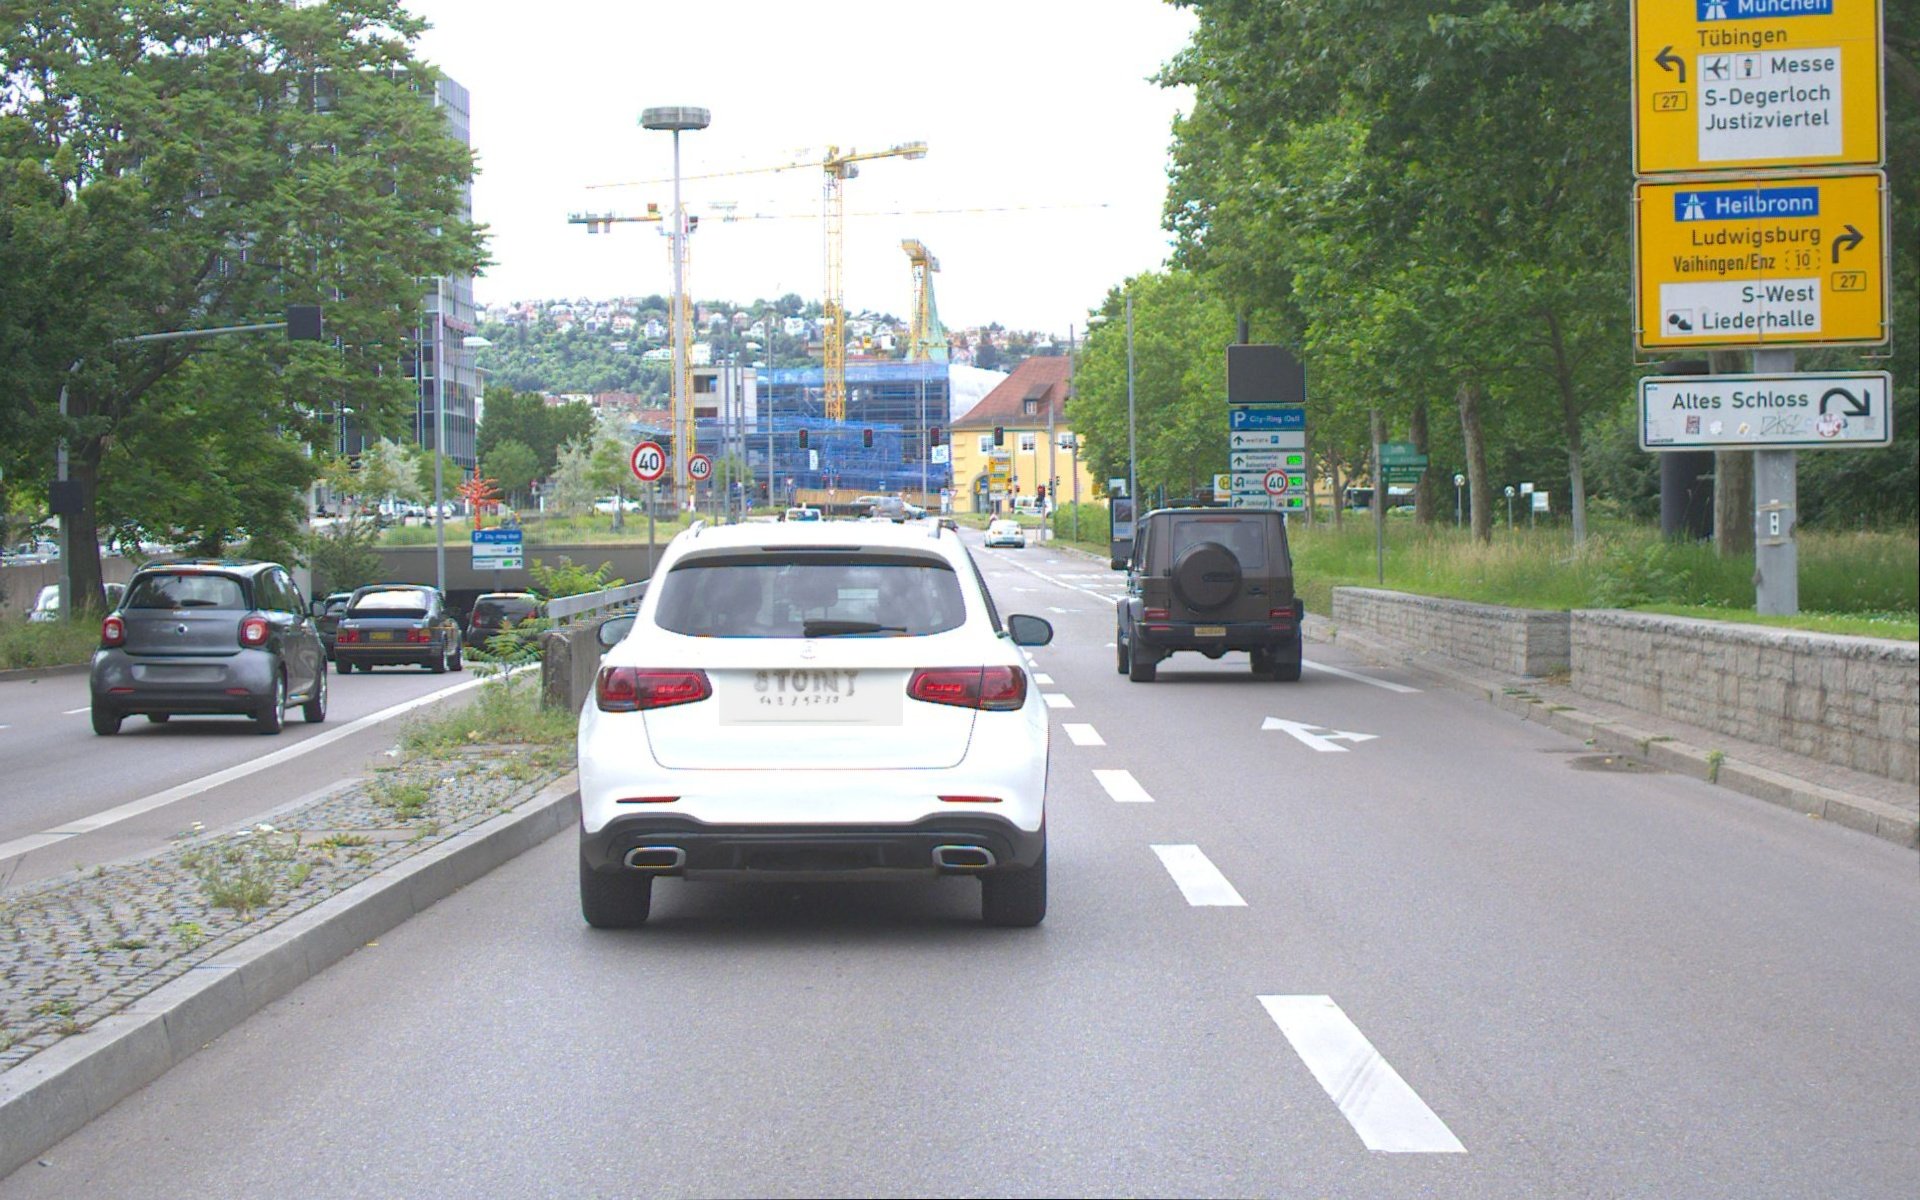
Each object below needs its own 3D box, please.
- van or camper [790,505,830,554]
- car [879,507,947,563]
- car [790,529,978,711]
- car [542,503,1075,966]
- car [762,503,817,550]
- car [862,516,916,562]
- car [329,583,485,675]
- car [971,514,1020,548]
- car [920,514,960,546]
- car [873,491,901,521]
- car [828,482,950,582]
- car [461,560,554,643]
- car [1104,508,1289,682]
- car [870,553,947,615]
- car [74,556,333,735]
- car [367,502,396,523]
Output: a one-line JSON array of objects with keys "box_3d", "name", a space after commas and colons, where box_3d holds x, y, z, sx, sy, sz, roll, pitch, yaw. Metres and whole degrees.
[{"box_3d": [-7.449, -3.472, 170.549, 1.922, 2.312, 4.000, 1, -1, -3], "name": "van or camper"}, {"box_3d": [-1.515, -2.059, 110.010, 1.993, 1.656, 4.000, 2, 0, -3], "name": "car"}, {"box_3d": [-0.759, 0.193, 33.587, 1.672, 1.622, 4.000, 2, 0, -2], "name": "car"}, {"box_3d": [-0.669, 0.498, 14.846, 1.940, 1.678, 4.000, 2, 0, -3], "name": "car"}, {"box_3d": [-6.808, -2.923, 137.593, 1.993, 1.751, 4.000, 2, 0, -1], "name": "car"}, {"box_3d": [-2.891, -2.455, 138.923, 1.993, 1.774, 4.000, 2, 0, -3], "name": "car"}, {"box_3d": [-8.673, 0.430, 54.166, 1.719, 1.288, 4.000, 2, 1, 1], "name": "car"}, {"box_3d": [1.839, -3.564, 178.444, 1.993, 1.612, 4.001, 2, 0, -7], "name": "car"}, {"box_3d": [-1.028, -3.568, 175.584, 1.719, 1.579, 4.001, 2, 1, -4], "name": "car"}, {"box_3d": [-5.201, -6.655, 243.555, 1.800, 2.007, 4.000, 2, 0, -3], "name": "car"}, {"box_3d": [-1.229, -1.147, 57.784, 1.922, 1.596, 4.001, 1, 1, -3], "name": "car"}, {"box_3d": [-9.835, 0.010, 74.871, 1.719, 1.673, 4.001, 2, 1, -4], "name": "car"}, {"box_3d": [2.716, -0.072, 40.438, 1.978, 1.887, 4.707, -1, 0, 2], "name": "car"}, {"box_3d": [-1.413, -0.445, 92.991, 1.922, 1.596, 4.001, 1, 1, -3], "name": "car"}, {"box_3d": [-6.803, 0.384, 31.221, 1.627, 1.504, 3.540, 1, 0, -1], "name": "car"}, {"box_3d": [-39.780, -6.004, 236.532, 1.831, 1.355, 3.869, 2, 0, -8], "name": "car"}]
